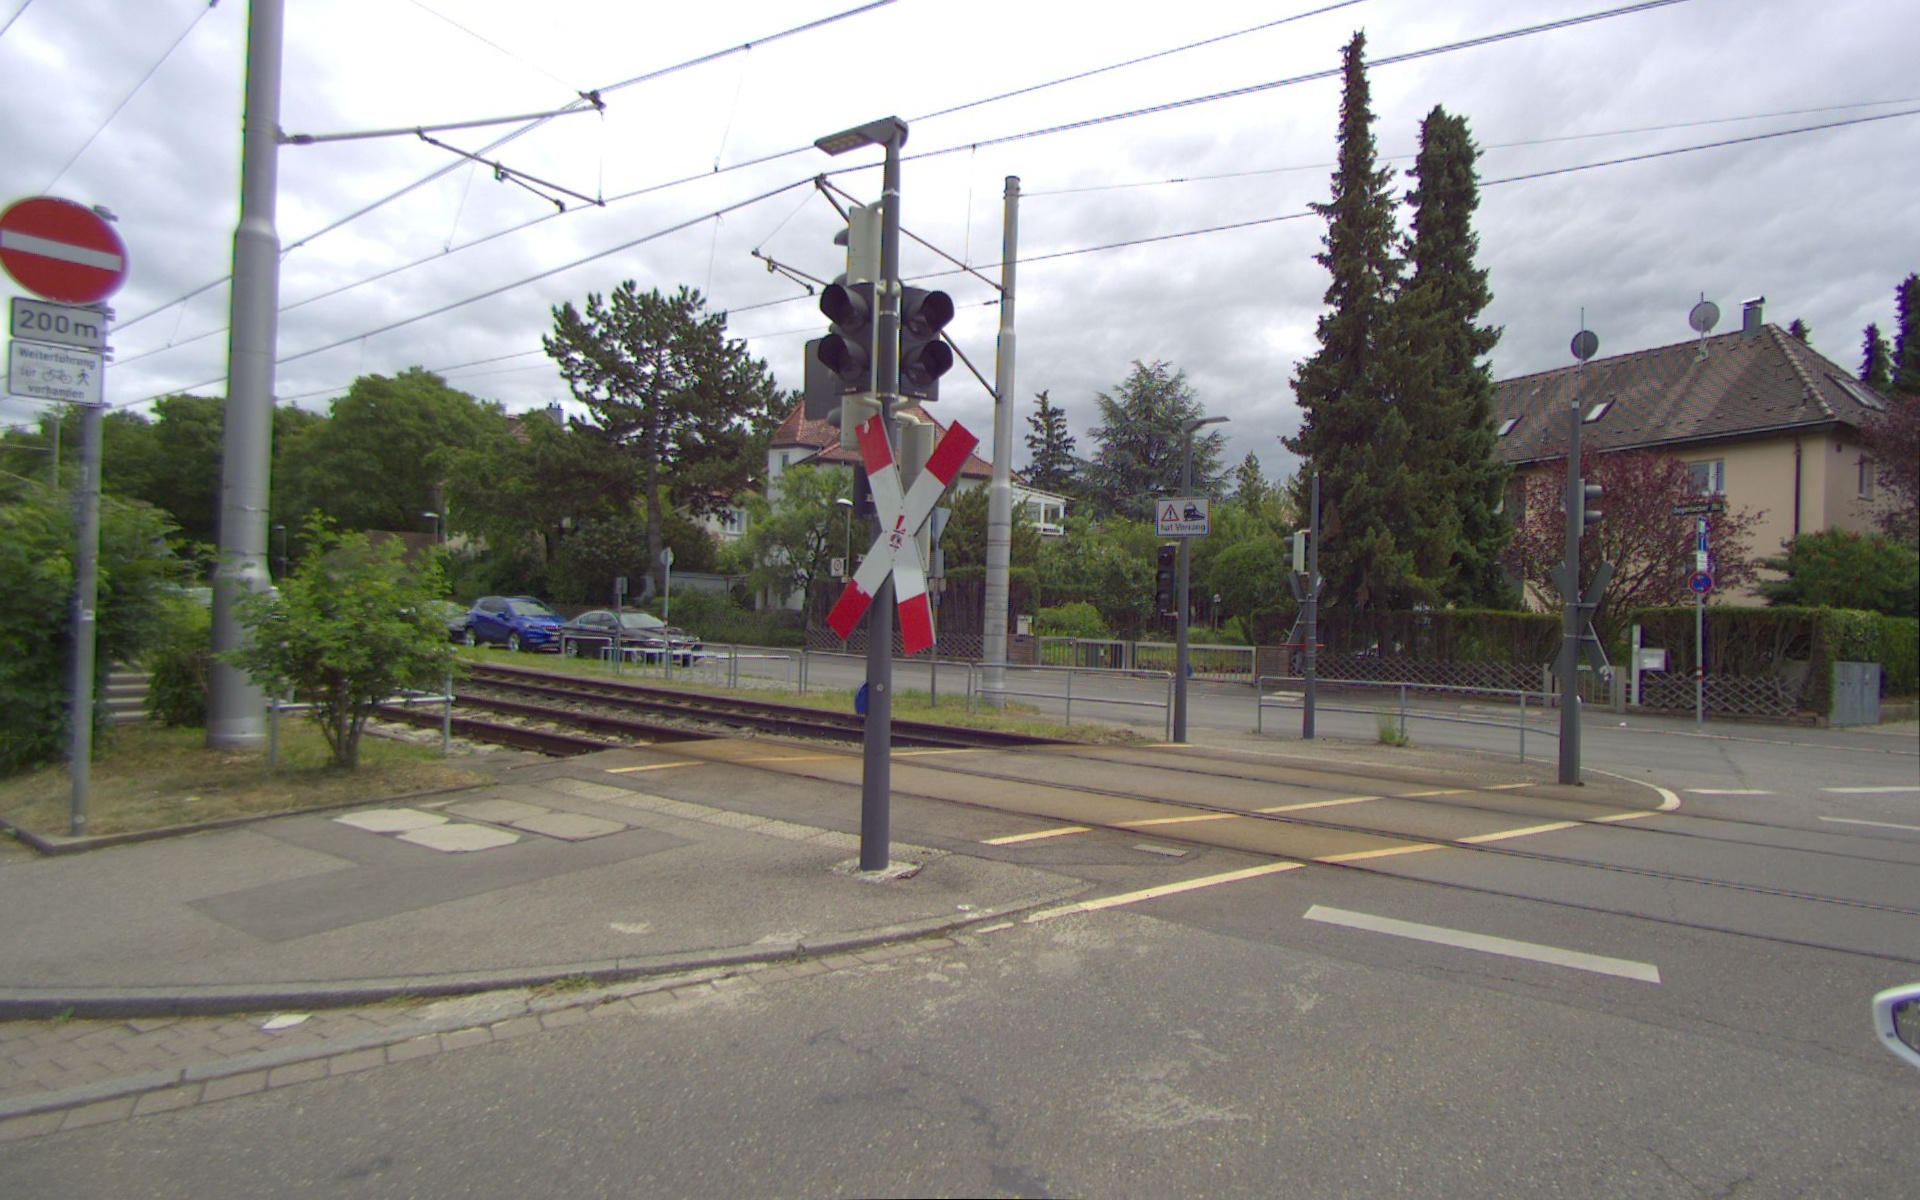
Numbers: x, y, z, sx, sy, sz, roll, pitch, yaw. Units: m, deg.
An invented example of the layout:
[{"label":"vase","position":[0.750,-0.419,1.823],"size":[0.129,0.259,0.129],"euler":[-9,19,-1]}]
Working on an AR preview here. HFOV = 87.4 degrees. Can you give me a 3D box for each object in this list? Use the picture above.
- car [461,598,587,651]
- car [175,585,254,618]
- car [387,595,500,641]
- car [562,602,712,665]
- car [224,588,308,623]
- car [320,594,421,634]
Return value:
[{"label":"car","position":[-13.578,0.737,31.226],"size":[3.935,1.500,1.848],"euler":[1,-1,36]},{"label":"car","position":[-34.985,0.063,47.106],"size":[3.935,1.394,1.848],"euler":[1,-1,36]},{"label":"car","position":[-17.581,0.592,34.145],"size":[3.935,1.394,1.848],"euler":[1,-1,36]},{"label":"car","position":[-8.960,0.894,27.769],"size":[4.049,1.521,1.817],"euler":[1,-1,34]},{"label":"car","position":[-30.765,0.230,44.503],"size":[3.935,1.394,1.848],"euler":[1,-1,36]},{"label":"car","position":[-22.300,0.518,37.943],"size":[3.935,1.394,1.848],"euler":[1,-1,36]}]
